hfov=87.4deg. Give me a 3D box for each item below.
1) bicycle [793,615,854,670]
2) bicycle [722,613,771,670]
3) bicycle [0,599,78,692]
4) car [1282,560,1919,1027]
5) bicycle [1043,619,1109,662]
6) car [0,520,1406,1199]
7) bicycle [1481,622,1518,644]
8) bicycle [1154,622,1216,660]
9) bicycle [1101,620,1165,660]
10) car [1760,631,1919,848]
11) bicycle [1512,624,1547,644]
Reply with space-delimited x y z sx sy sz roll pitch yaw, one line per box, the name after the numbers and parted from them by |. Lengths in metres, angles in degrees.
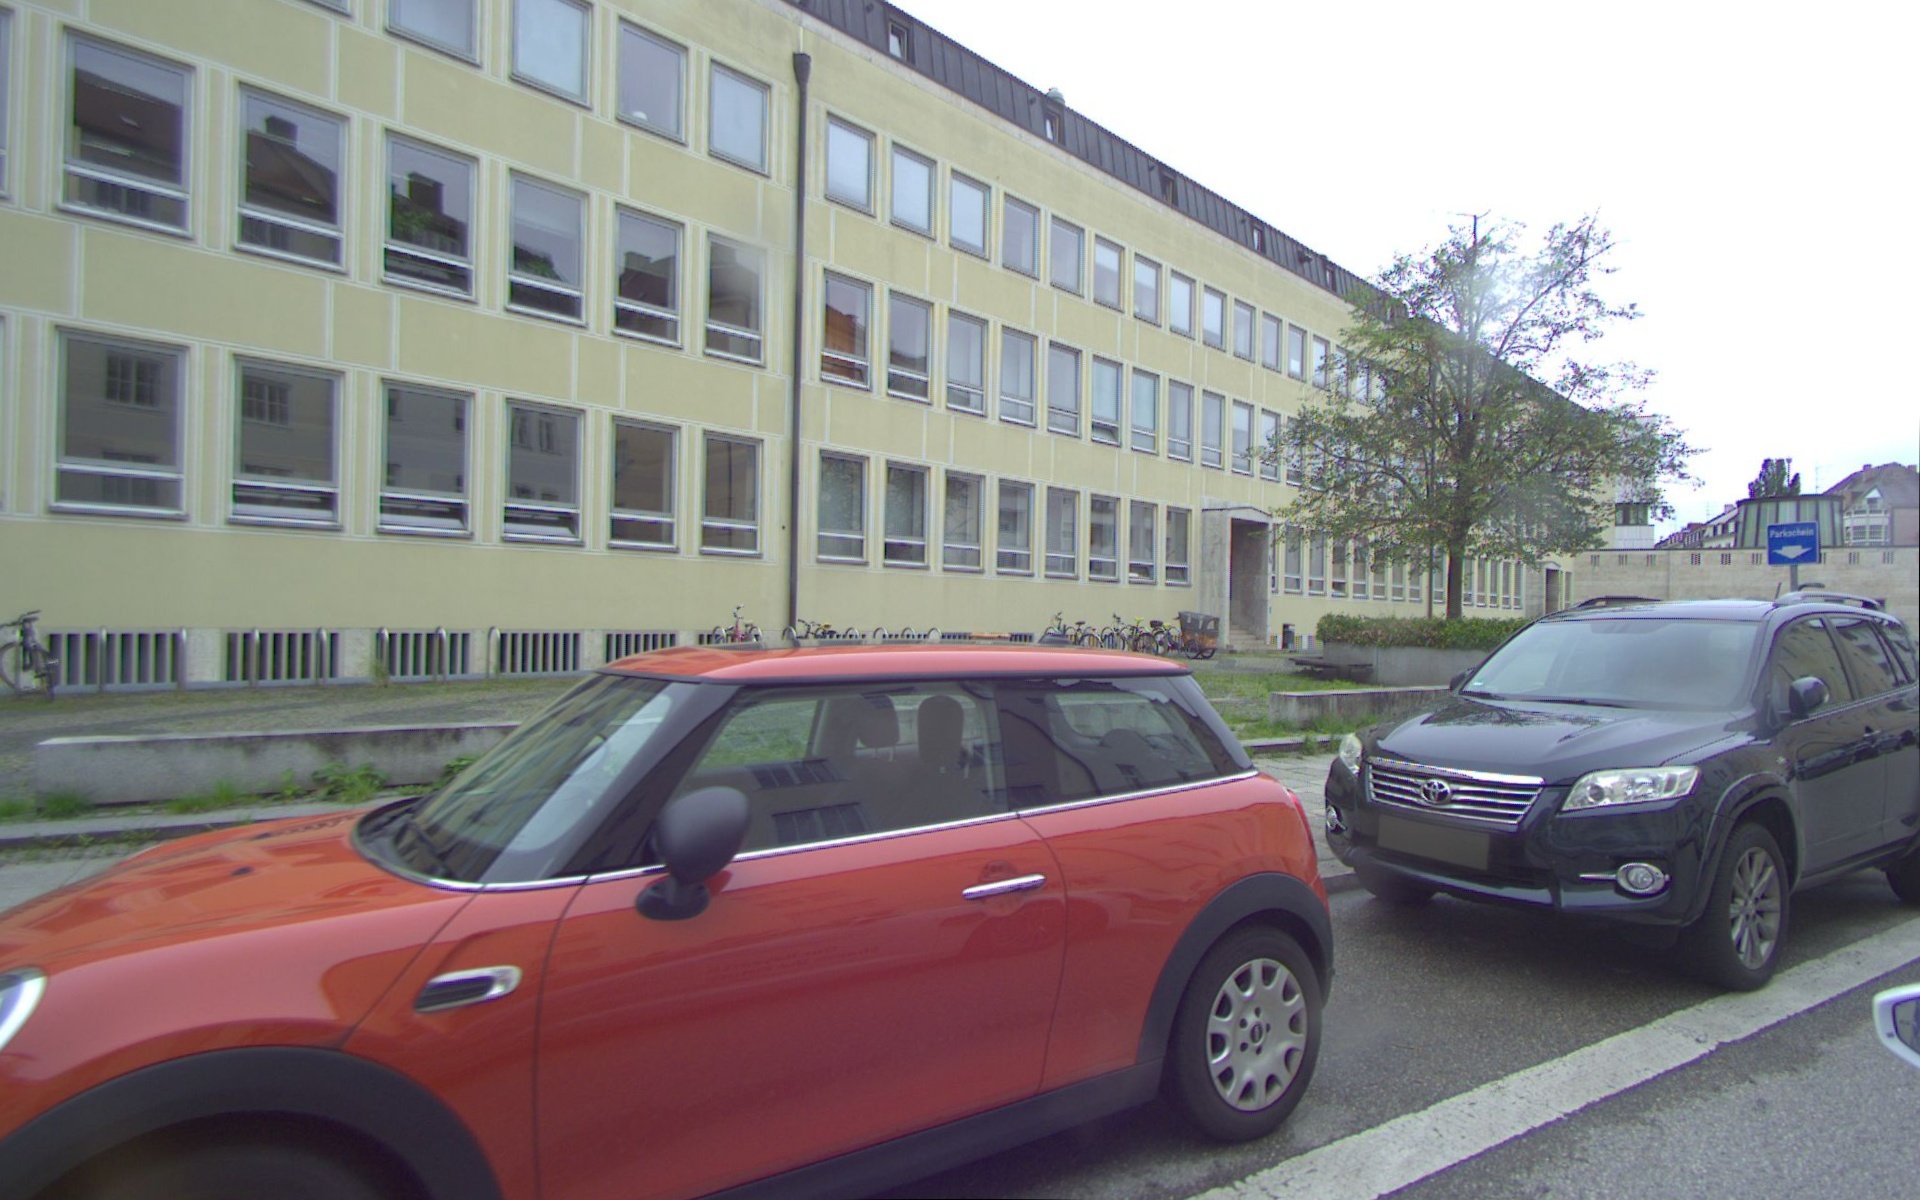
-2.617 0.792 19.199 0.411 0.957 1.394 1 1 -42 | bicycle
-3.963 0.757 18.588 0.410 0.957 1.398 1 1 -33 | bicycle
-10.559 0.490 11.407 1.387 0.957 0.413 2 1 32 | bicycle
3.842 0.766 5.487 4.093 1.712 1.706 1 -2 -31 | car
2.850 0.980 24.706 1.585 0.957 0.500 3 1 42 | bicycle
-0.627 0.657 2.998 3.666 1.425 1.796 1 -3 -31 | car
25.456 1.567 47.379 1.455 0.957 0.412 3 1 44 | bicycle
6.236 1.124 27.846 1.583 0.957 0.501 2 1 36 | bicycle
4.505 1.033 26.235 1.585 0.957 0.500 3 1 42 | bicycle
8.266 1.010 8.080 3.775 1.514 1.623 1 -3 -31 | car
28.378 1.688 50.081 1.455 0.957 0.412 3 1 44 | bicycle
